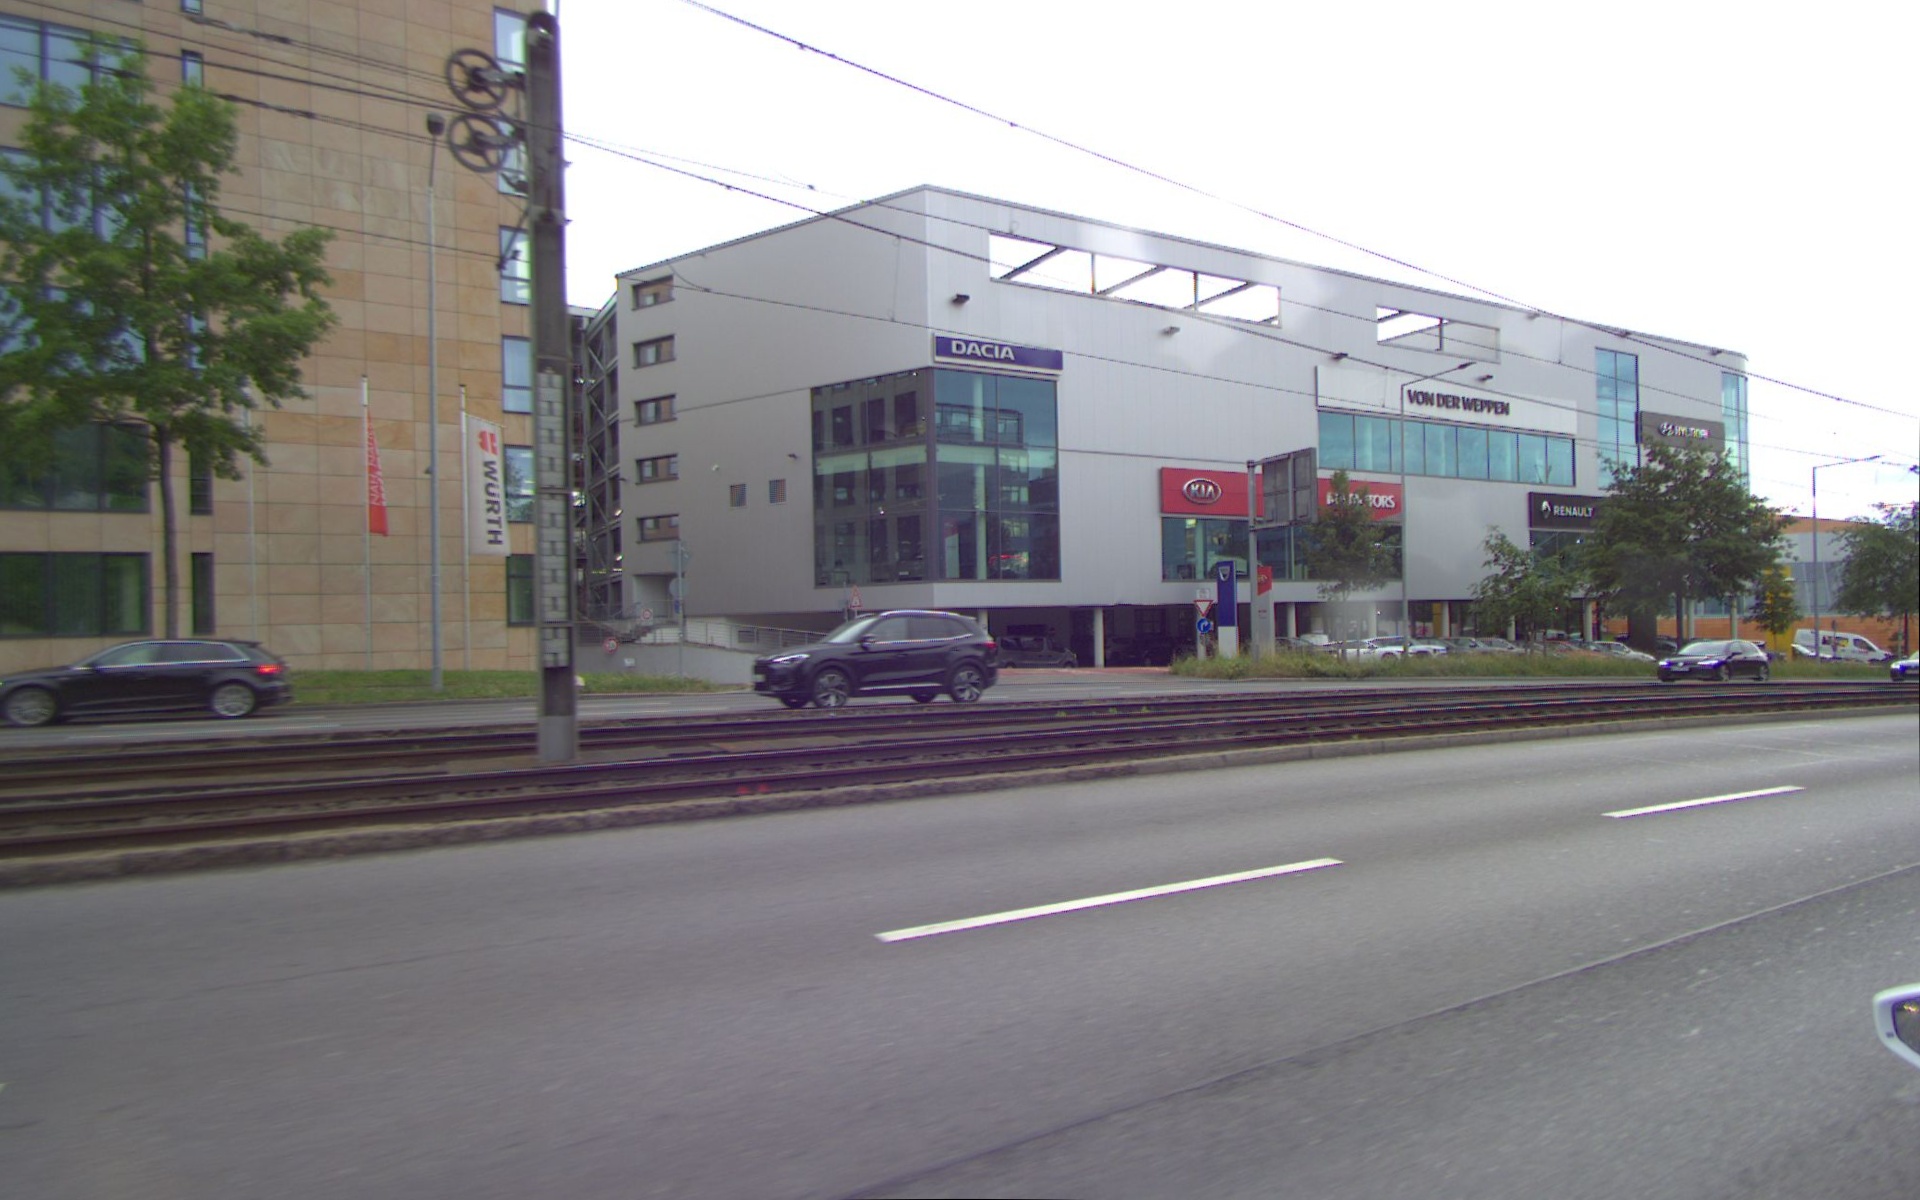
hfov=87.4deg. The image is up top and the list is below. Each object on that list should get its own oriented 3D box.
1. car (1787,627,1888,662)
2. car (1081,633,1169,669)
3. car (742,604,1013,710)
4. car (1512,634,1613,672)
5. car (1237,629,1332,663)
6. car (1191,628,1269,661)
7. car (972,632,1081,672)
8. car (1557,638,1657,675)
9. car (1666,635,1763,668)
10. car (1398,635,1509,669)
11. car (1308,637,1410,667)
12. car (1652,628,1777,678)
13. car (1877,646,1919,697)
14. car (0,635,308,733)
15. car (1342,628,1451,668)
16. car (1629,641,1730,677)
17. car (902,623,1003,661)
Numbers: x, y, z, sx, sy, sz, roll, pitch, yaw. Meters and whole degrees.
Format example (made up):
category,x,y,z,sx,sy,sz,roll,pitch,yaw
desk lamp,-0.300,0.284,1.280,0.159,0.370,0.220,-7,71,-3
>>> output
category,x,y,z,sx,sy,sz,roll,pitch,yaw
car,63.588,3.204,72.895,2.003,2.343,5.260,3,-1,-39
car,9.555,2.945,58.062,4.885,1.936,1.983,2,-1,-32
car,-1.386,0.974,17.514,4.336,1.637,1.796,3,-1,-31
car,33.747,2.937,56.374,4.554,2.002,2.008,-1,-3,44
car,17.294,2.449,53.498,4.552,1.686,2.018,0,-2,28
car,16.970,2.768,63.050,4.791,1.936,1.983,2,-1,-32
car,3.162,2.448,47.398,4.882,1.748,1.984,2,-1,-30
car,37.918,3.287,58.977,2.003,2.002,4.566,3,-2,-38
car,47.893,3.254,63.852,1.998,2.002,4.577,2,-2,-32
car,26.135,2.722,53.306,4.950,1.675,2.008,-1,-3,44
car,19.394,2.510,48.909,4.269,1.324,1.864,0,-2,39
car,24.684,1.747,32.844,4.185,1.481,1.661,3,-1,-28
car,39.814,2.943,41.131,4.561,2.002,2.005,2,-2,-29
car,-13.867,1.416,17.351,4.186,1.481,1.660,3,-1,-29
car,21.726,2.367,50.105,4.574,1.851,2.008,-1,-3,44
car,43.190,3.529,60.400,1.998,2.002,4.577,2,-2,-32
car,-0.350,2.133,51.558,4.885,1.815,1.983,2,-1,-32
